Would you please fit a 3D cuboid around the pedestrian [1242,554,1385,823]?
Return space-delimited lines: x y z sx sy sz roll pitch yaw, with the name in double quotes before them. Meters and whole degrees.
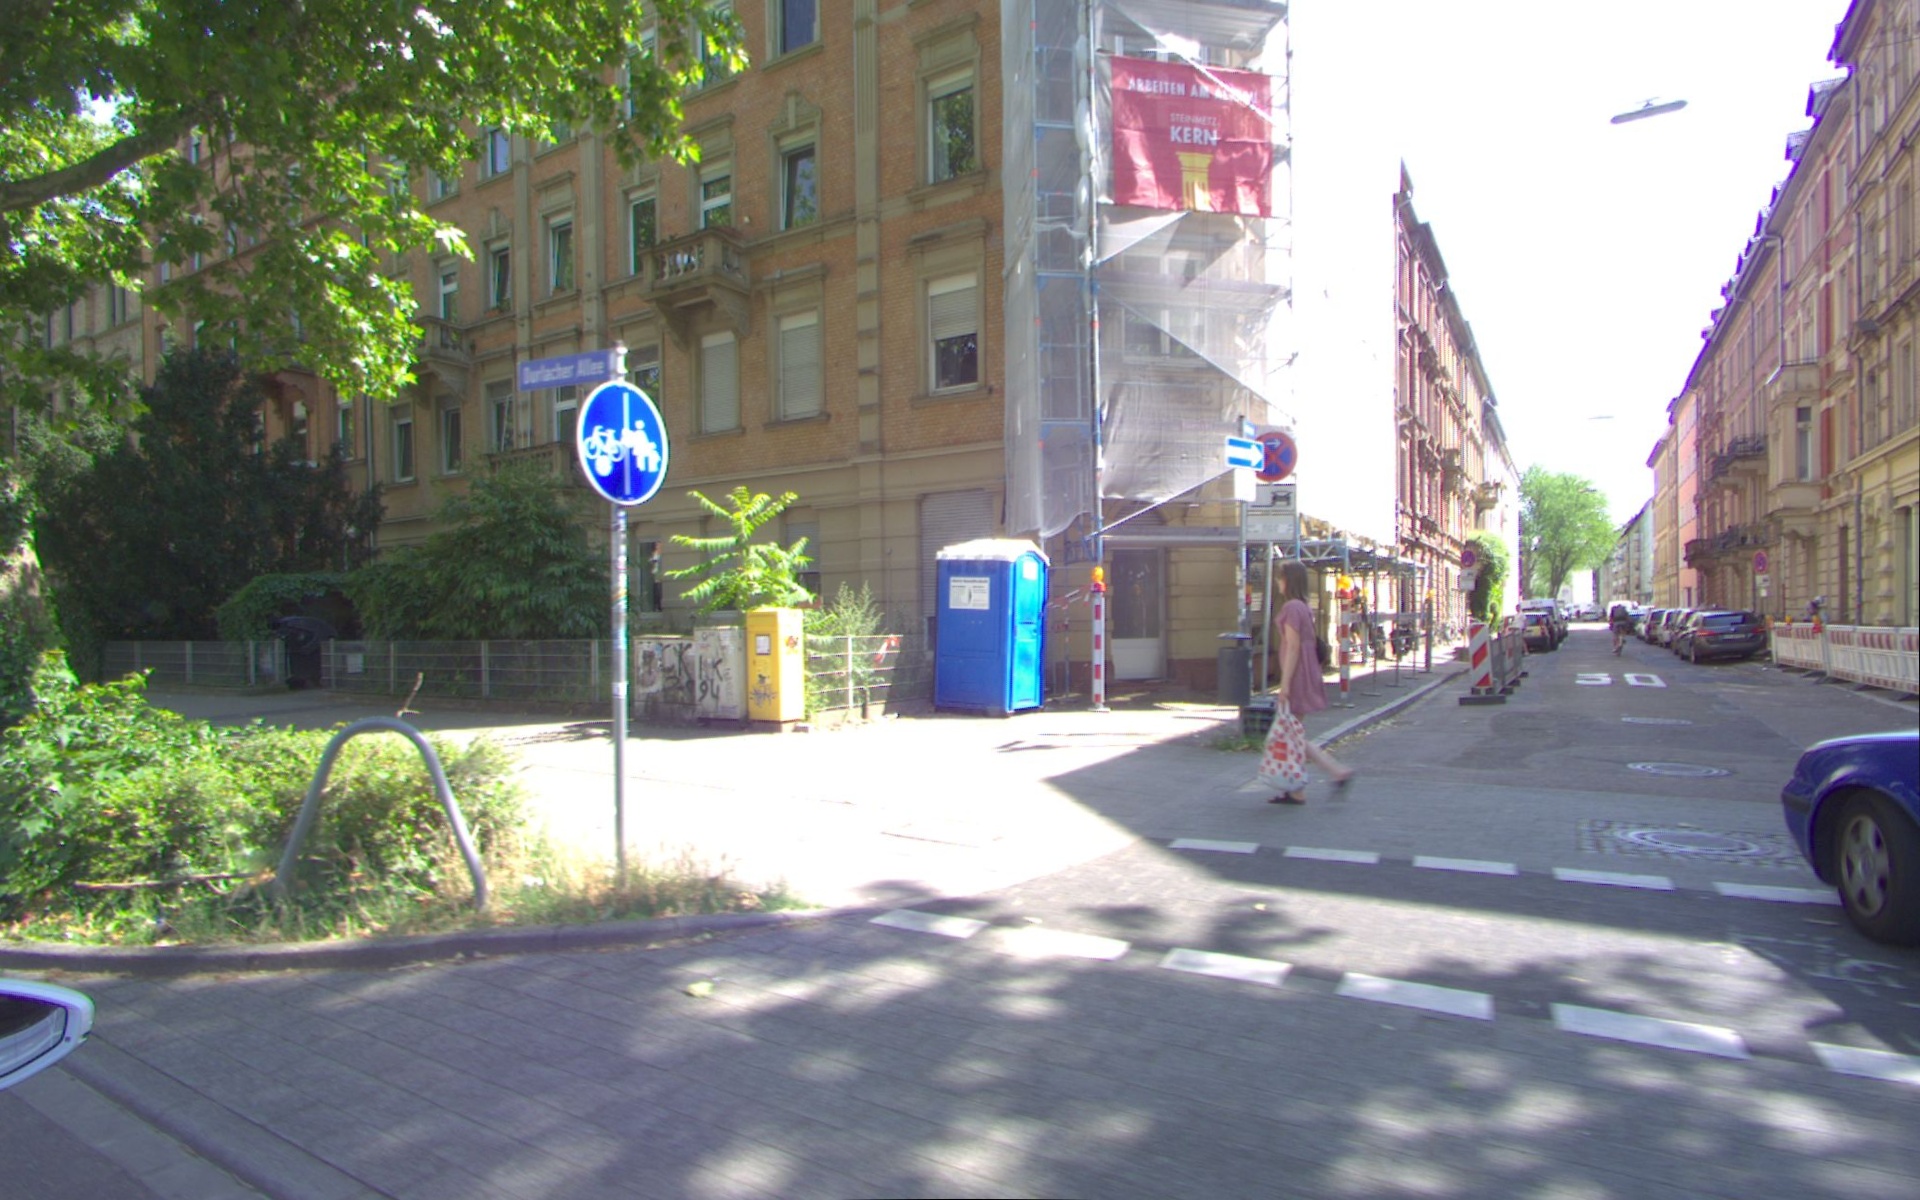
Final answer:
"pedestrian" 2.577 0.608 7.278 0.840 1.808 0.735 -1 0 32

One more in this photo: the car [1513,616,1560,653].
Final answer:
"car" 24.783 1.456 43.046 1.703 1.549 3.479 -1 -1 30

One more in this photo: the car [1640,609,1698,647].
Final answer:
"car" 33.838 1.319 47.876 1.971 1.761 3.980 -1 -1 31

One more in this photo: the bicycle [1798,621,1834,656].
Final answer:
"bicycle" 25.077 1.130 29.350 0.530 0.991 1.304 -1 -1 28

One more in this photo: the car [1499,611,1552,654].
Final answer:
"car" 21.685 1.223 38.363 1.703 1.549 3.479 -1 -1 31

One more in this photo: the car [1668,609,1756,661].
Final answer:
"car" 25.217 1.140 33.709 1.971 1.661 3.980 -1 -1 31

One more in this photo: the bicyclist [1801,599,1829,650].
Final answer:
"bicyclist" 25.100 0.714 29.402 0.525 1.472 0.459 -1 0 28

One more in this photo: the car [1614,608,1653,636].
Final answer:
"car" 45.248 1.464 67.313 1.971 1.761 3.980 -1 -1 31

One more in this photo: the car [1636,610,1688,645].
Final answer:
"car" 36.866 1.425 52.640 1.971 1.761 3.980 -1 -1 31

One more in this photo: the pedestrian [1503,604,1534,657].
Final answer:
"pedestrian" 19.470 1.047 34.918 0.922 1.822 1.034 -1 0 29

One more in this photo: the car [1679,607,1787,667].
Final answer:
"car" 21.880 1.010 28.493 1.971 1.572 3.980 -1 -1 31

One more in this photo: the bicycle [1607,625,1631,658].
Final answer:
"bicycle" 21.874 1.363 33.270 0.525 1.062 1.917 -1 -1 29

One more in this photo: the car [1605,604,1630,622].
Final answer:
"car" 65.642 1.315 99.999 1.971 1.761 3.980 -1 -1 31

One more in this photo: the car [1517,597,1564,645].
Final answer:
"car" 30.498 1.095 52.553 1.887 2.404 4.224 -1 -1 33

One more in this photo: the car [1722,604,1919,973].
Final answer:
"car" 4.540 0.703 2.857 1.851 1.428 4.093 -1 -1 5

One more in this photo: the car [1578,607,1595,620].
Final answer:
"car" 87.650 1.940 140.112 1.971 1.761 3.980 -1 -1 31

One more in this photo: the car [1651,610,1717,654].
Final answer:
"car" 30.677 1.315 42.531 1.971 1.761 3.980 -1 -1 31

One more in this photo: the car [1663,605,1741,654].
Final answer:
"car" 27.891 1.082 37.743 1.971 1.761 3.980 -1 -1 31

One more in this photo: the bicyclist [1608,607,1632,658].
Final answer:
"bicyclist" 21.842 1.071 33.134 0.615 1.644 0.691 -1 0 30
